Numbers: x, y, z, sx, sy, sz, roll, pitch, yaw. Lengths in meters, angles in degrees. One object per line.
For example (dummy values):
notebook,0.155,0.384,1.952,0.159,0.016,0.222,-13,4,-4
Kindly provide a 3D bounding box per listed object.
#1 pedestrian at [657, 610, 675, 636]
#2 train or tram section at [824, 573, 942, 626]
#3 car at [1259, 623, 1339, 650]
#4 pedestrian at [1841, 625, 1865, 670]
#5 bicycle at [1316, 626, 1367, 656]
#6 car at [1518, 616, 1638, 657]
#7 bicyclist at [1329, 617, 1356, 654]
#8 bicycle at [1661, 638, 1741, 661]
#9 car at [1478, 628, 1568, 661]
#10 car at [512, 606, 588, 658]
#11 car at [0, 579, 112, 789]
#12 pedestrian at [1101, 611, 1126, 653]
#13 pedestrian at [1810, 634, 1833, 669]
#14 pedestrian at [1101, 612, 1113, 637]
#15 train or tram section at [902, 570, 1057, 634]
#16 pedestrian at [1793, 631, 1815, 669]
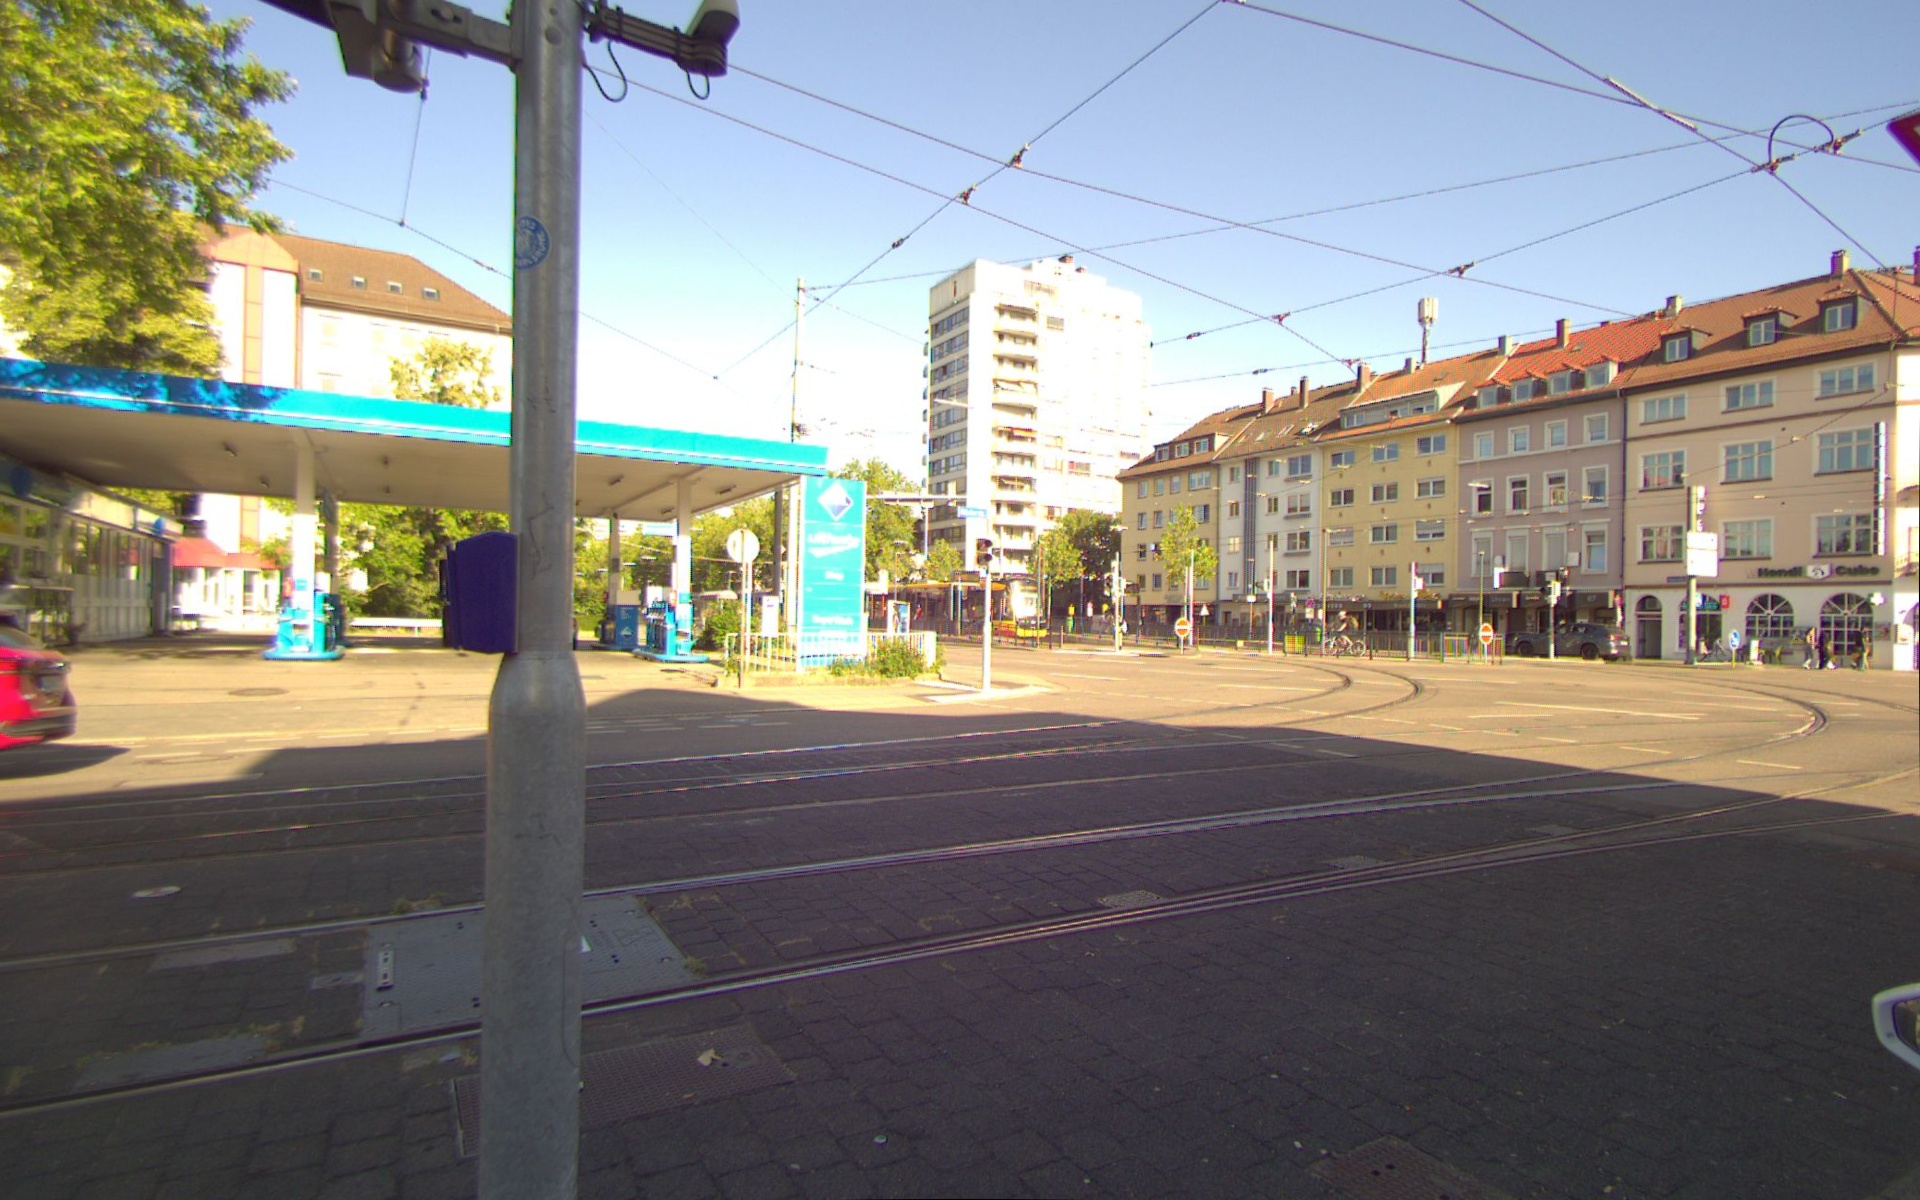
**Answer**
pedestrian,-17.487,1.345,59.780,0.817,1.532,0.696,1,-1,-44
train or tram section,-5.495,-0.071,68.023,2.751,3.273,12.286,2,0,-31
car,19.551,2.087,58.023,1.980,1.394,3.961,2,0,-35
pedestrian,38.271,2.040,43.048,0.460,1.906,0.629,2,0,-33
bicycle,14.840,1.583,39.112,1.759,1.084,0.575,2,0,1
car,27.532,1.611,44.893,1.931,1.639,4.145,2,0,-30
bicyclist,14.894,1.376,39.119,0.787,1.384,0.560,2,0,2
bicycle,37.498,2.496,50.899,0.989,0.993,3.115,2,0,-29
car,30.853,2.421,55.144,1.970,1.692,3.981,1,-1,-21
car,-12.298,0.936,30.047,1.764,1.411,3.455,2,0,-28
car,-9.354,0.593,7.176,4.709,1.542,1.898,2,-3,-30
pedestrian,6.200,1.301,40.653,0.675,1.656,0.694,2,0,-35
pedestrian,37.258,2.218,43.463,0.460,1.496,0.629,2,0,-33
pedestrian,9.947,1.682,68.124,0.570,1.649,0.522,2,0,-31
train or tram section,0.764,0.074,57.516,2.751,3.273,12.286,2,0,-31
pedestrian,37.260,2.196,44.340,0.460,1.633,0.629,2,0,-33
